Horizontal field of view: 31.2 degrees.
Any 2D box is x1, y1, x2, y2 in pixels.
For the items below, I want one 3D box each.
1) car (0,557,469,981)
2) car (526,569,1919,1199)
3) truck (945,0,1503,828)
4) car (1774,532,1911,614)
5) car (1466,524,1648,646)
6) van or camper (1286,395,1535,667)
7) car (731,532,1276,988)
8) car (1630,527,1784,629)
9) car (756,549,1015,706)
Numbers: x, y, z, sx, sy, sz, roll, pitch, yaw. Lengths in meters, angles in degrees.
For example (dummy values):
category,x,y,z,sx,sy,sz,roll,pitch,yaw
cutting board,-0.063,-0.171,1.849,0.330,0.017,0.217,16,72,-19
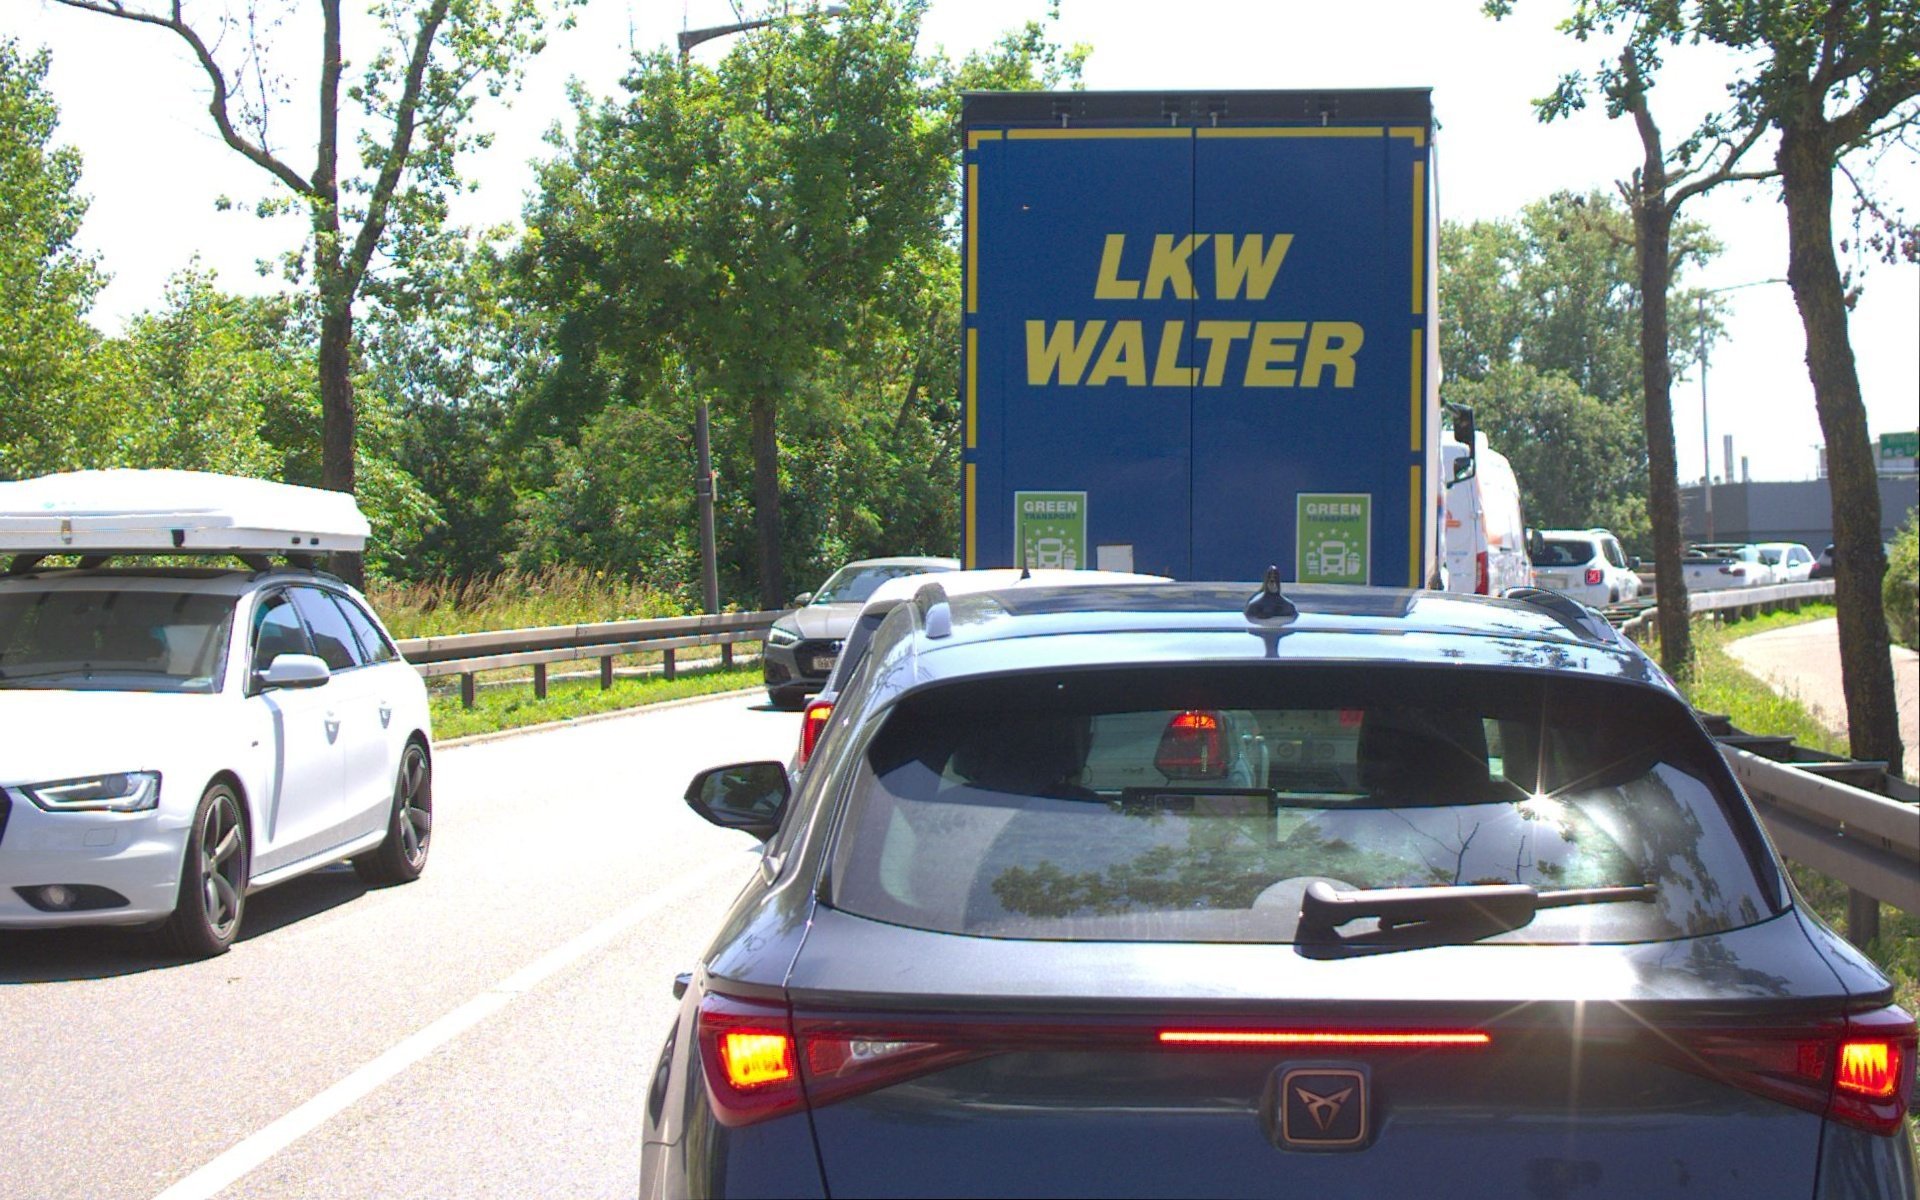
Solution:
category,x,y,z,sx,sy,sz,roll,pitch,yaw
car,-3.440,0.549,14.055,1.819,1.416,4.465,1,1,6
car,0.403,0.685,5.604,1.744,1.427,3.880,1,1,0
truck,2.492,-1.134,26.863,2.950,4.433,16.793,1,1,7
car,19.114,-0.593,74.293,1.996,1.711,4.862,1,1,25
car,8.943,-0.245,51.219,1.995,1.706,4.616,1,1,18
van or camper,5.481,-0.808,41.059,2.467,2.988,6.083,1,1,12
car,0.188,0.505,13.516,1.809,1.503,4.000,1,1,1
car,13.890,-0.418,63.760,1.996,1.802,4.840,1,1,22
car,-0.648,0.215,33.312,1.760,1.391,4.404,1,1,9
